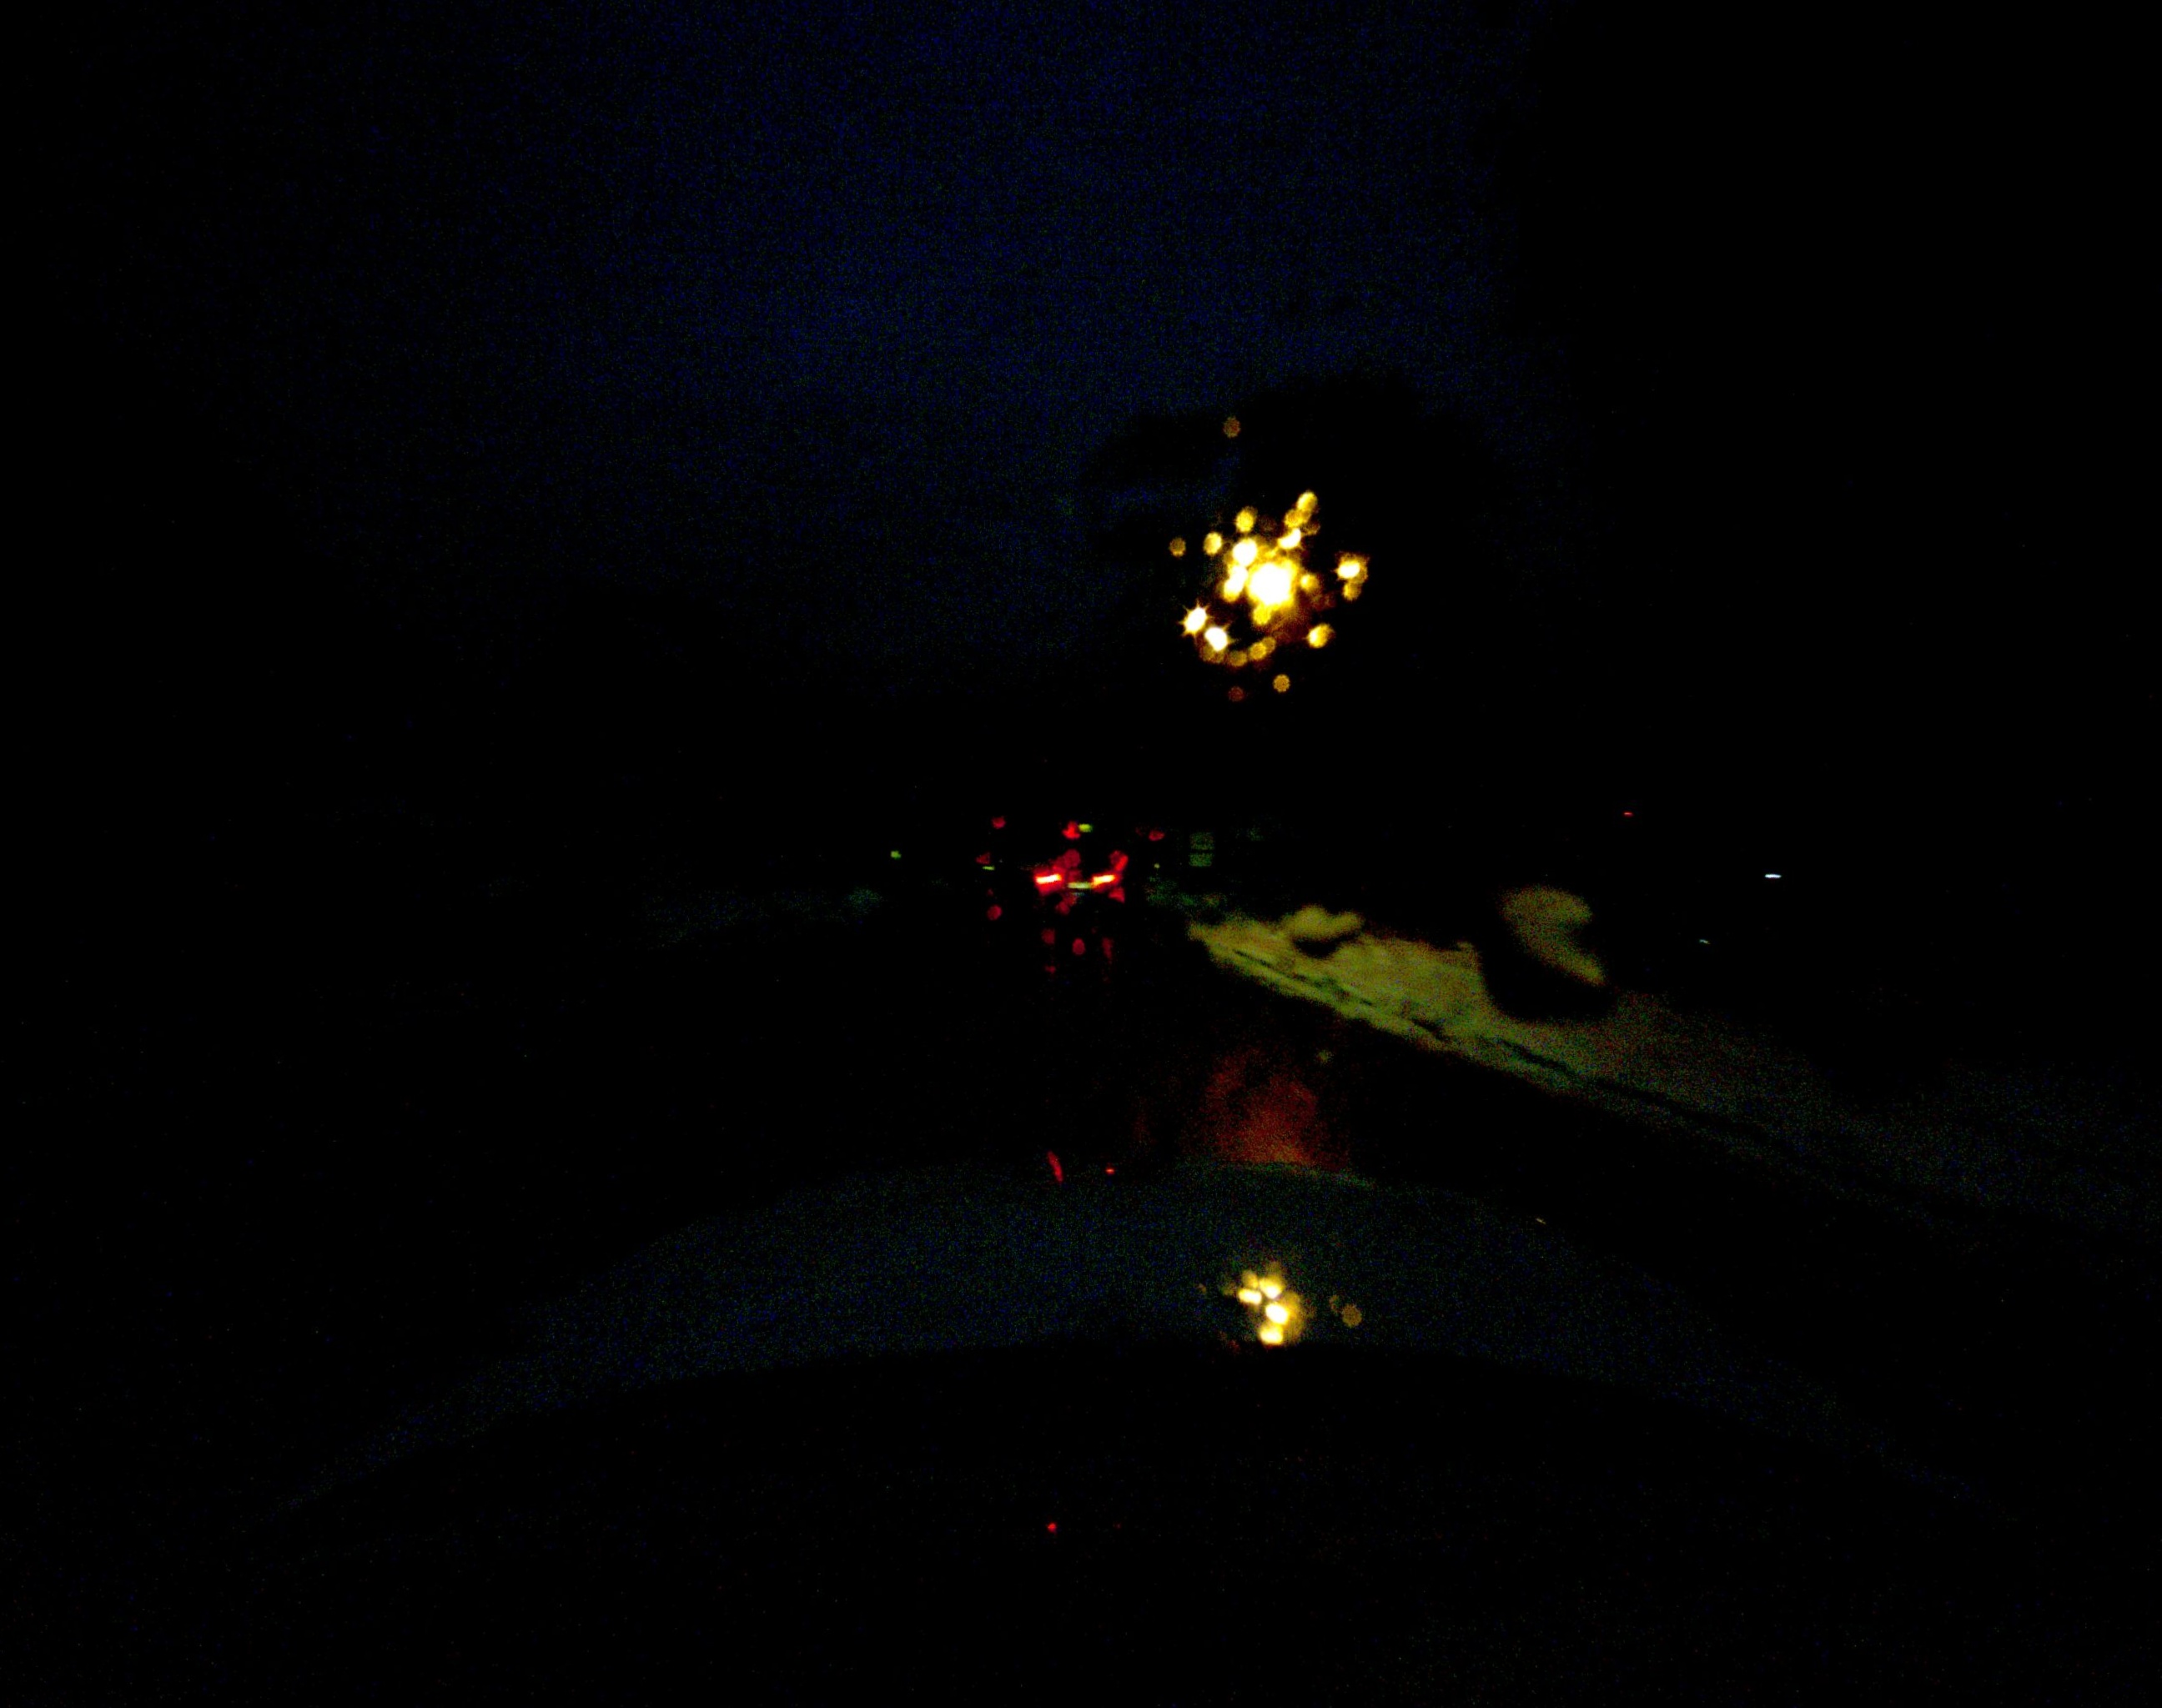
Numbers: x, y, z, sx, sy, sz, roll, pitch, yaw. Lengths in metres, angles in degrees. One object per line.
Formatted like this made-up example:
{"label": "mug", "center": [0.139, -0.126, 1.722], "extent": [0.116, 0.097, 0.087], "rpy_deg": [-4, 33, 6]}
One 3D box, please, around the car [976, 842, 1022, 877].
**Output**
{"label": "car", "center": [-4.002, 0.229, 40.161], "extent": [1.711, 1.534, 3.520], "rpy_deg": [1, 2, 3]}

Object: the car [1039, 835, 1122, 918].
{"label": "car", "center": [-0.071, 0.492, 20.199], "extent": [1.818, 1.796, 3.575], "rpy_deg": [-3, 1, -2]}

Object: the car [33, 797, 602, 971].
{"label": "car", "center": [-9.711, 0.394, 10.825], "extent": [5.247, 2.014, 2.212], "rpy_deg": [1, -2, -2]}

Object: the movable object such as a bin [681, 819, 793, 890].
{"label": "movable object such as a bin", "center": [-9.195, -0.007, 21.805], "extent": [2.344, 1.648, 1.449], "rpy_deg": [5, 2, 22]}
